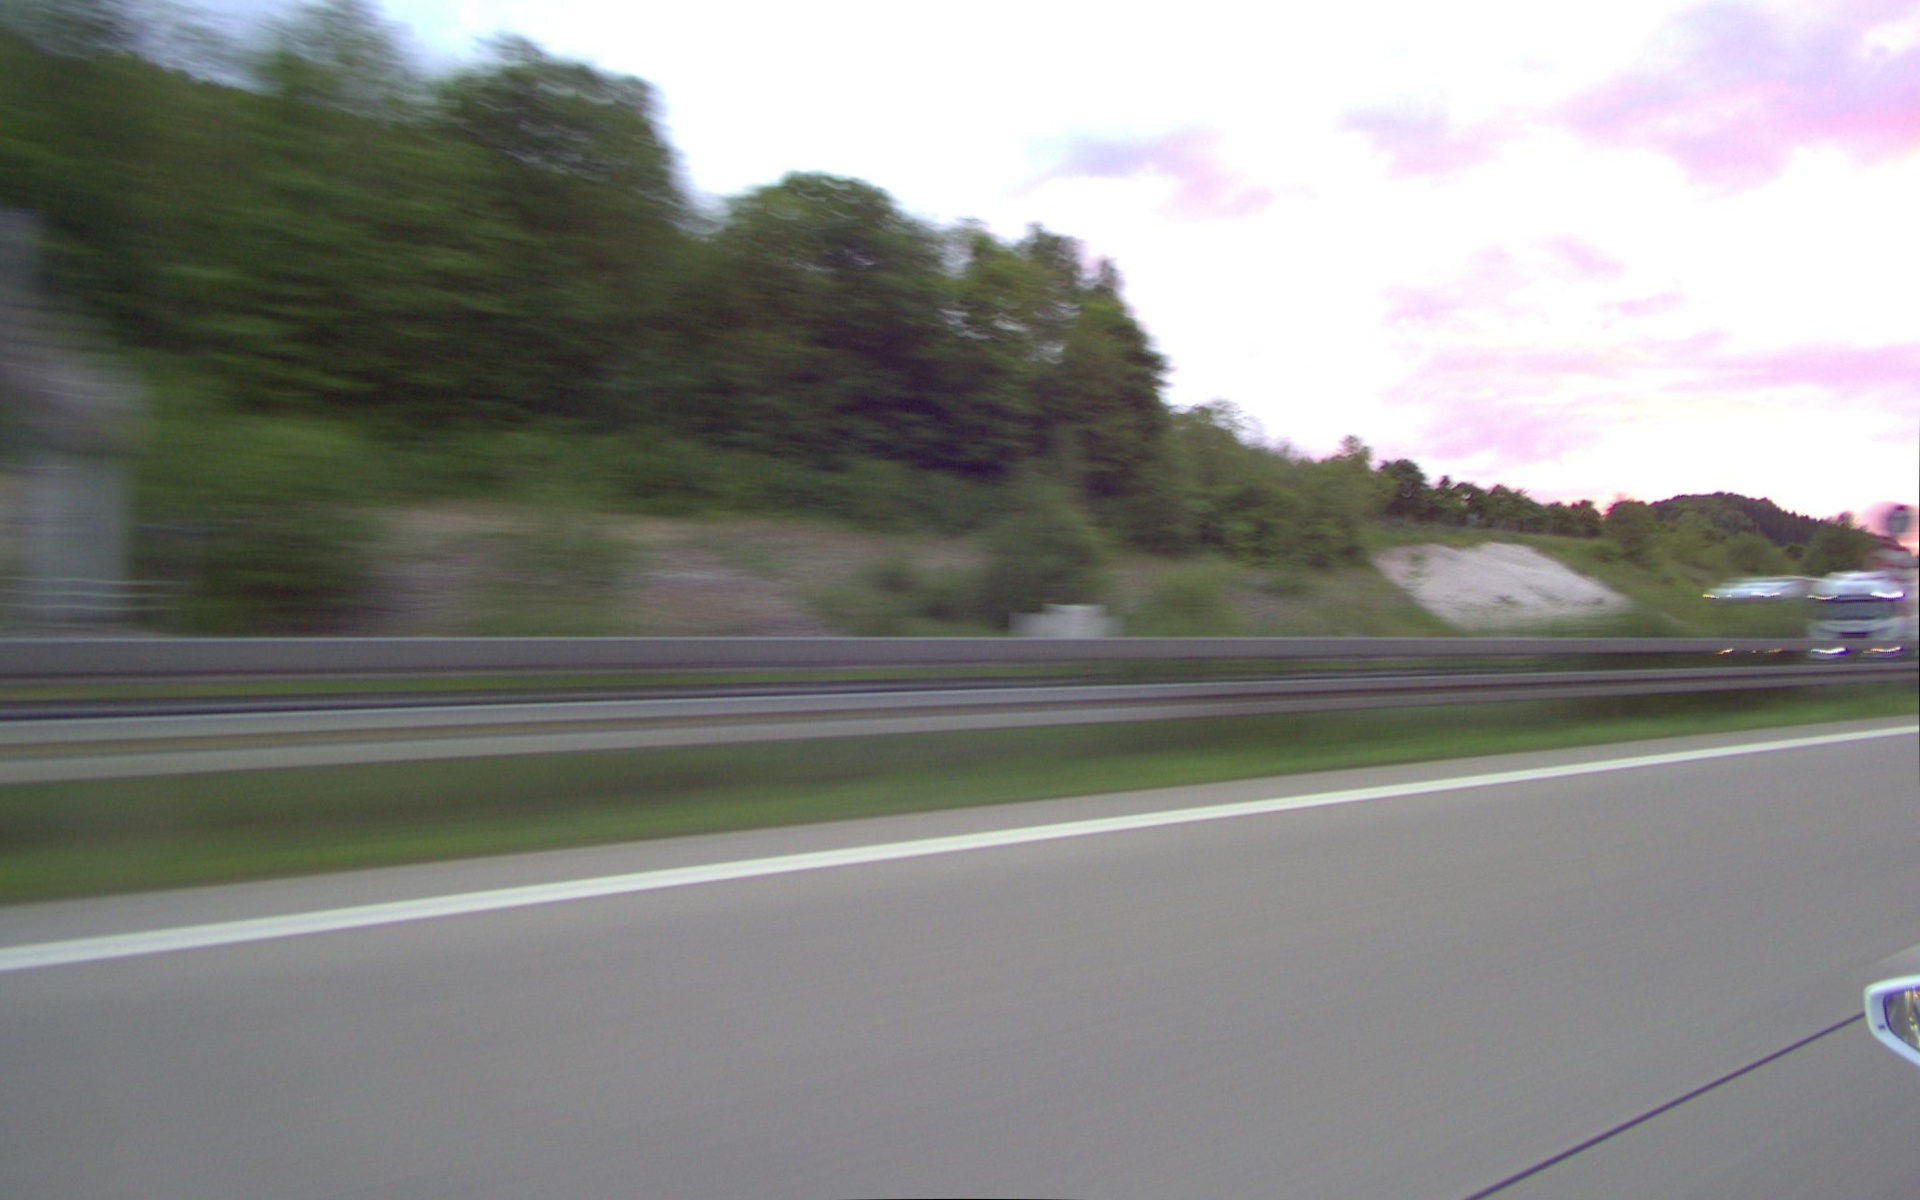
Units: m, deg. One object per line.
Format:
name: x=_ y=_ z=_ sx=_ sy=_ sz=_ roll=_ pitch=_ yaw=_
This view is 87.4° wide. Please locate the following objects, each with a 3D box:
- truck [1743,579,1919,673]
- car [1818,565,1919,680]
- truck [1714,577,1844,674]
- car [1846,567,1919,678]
truck: x=44.032 y=1.347 z=50.275 sx=13.440 sy=4.266 sz=2.882 roll=2 pitch=-1 yaw=-30
car: x=39.099 y=0.958 z=42.306 sx=5.861 sy=4.546 sz=2.785 roll=2 pitch=-1 yaw=-31
truck: x=38.274 y=1.207 z=46.930 sx=5.795 sy=4.266 sz=2.843 roll=2 pitch=-1 yaw=-30
car: x=45.000 y=1.104 z=45.861 sx=13.750 sy=4.546 sz=2.784 roll=2 pitch=-1 yaw=-31
